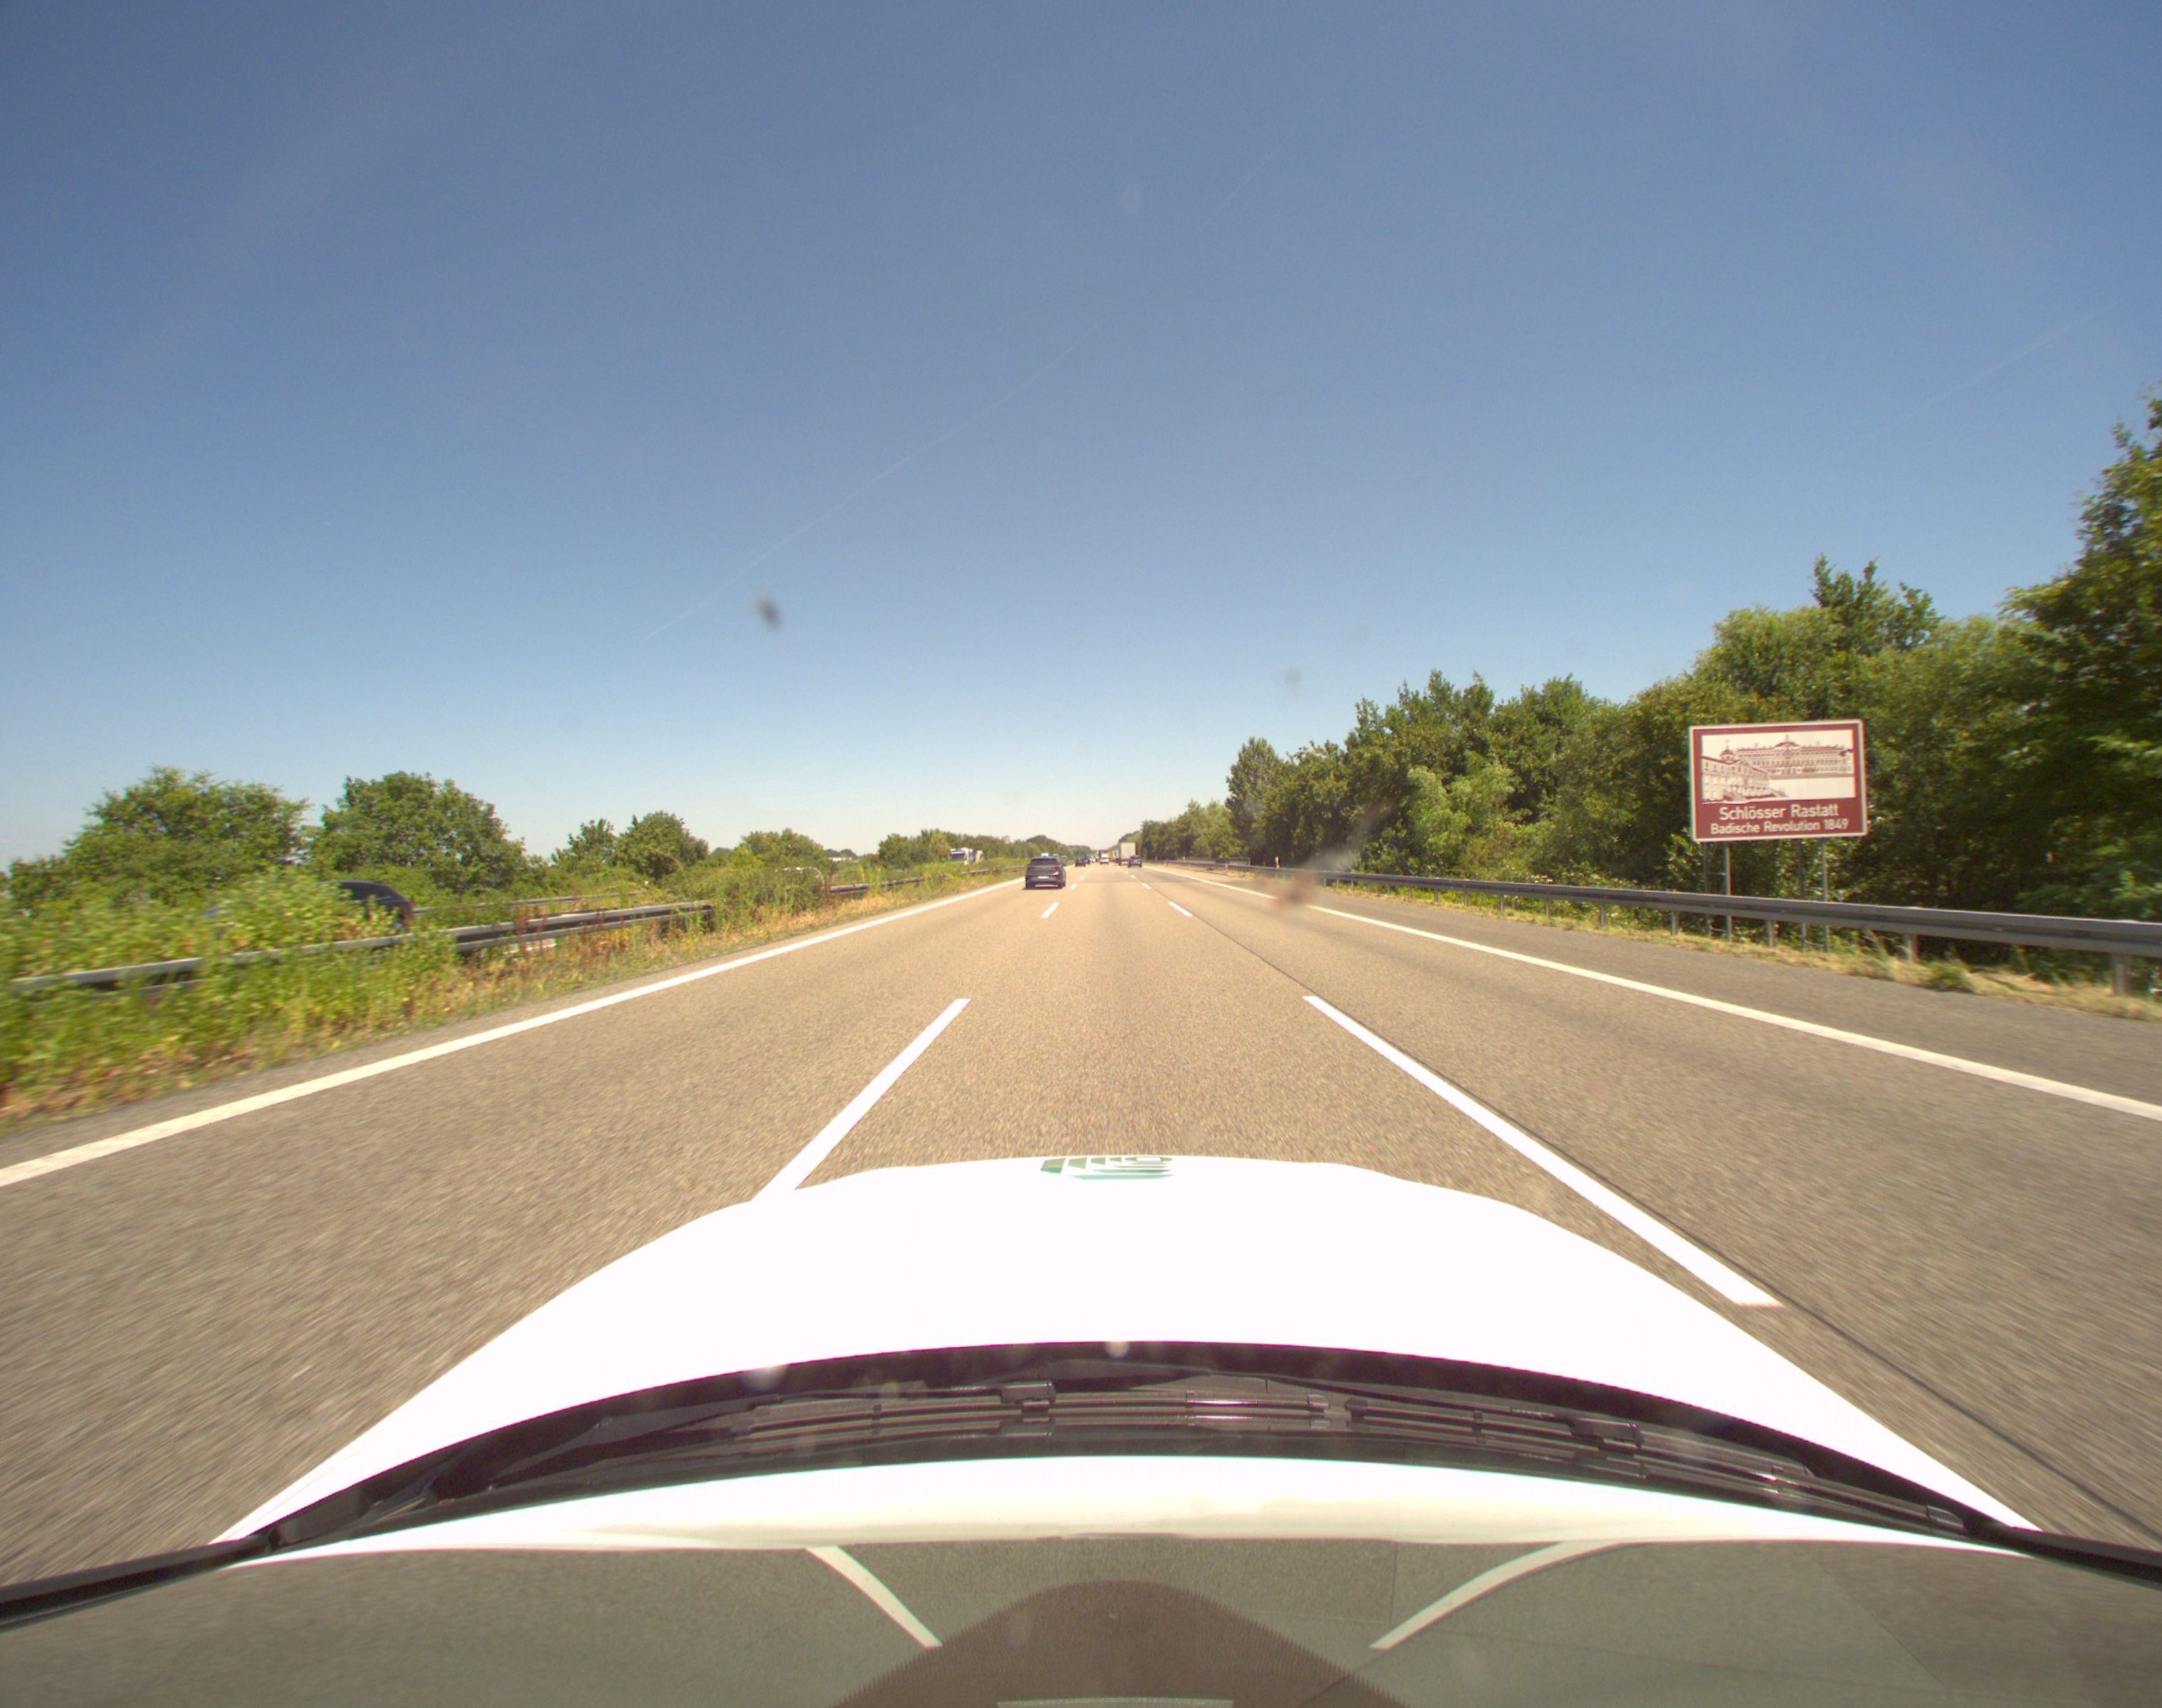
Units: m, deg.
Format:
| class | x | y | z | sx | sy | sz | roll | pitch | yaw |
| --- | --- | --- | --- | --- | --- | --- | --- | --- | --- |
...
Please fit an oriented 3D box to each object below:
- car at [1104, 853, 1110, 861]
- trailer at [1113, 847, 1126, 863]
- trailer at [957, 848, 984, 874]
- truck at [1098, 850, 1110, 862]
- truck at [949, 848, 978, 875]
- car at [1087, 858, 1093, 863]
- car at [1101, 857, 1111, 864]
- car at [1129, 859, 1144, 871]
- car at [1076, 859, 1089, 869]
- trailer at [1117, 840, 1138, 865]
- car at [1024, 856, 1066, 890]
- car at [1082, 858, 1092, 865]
| class | x | y | z | sx | sy | sz | roll | pitch | yaw |
| --- | --- | --- | --- | --- | --- | --- | --- | --- | --- |
| car | 7.363 | 0.807 | 230.855 | 1.900 | 2.425 | 4.287 | 0 | 0 | 1 |
| trailer | 9.731 | 0.340 | 206.649 | 3.112 | 3.926 | 9.936 | 0 | 0 | 1 |
| trailer | -17.675 | 1.079 | 130.939 | 2.916 | 3.990 | 9.658 | 0 | 0 | 0 |
| truck | 7.111 | 0.553 | 255.136 | 3.653 | 3.726 | 7.113 | 0 | 0 | 3 |
| truck | -17.720 | 1.075 | 123.400 | 2.908 | 3.990 | 9.621 | 0 | 0 | 0 |
| car | 2.688 | 1.908 | 239.988 | 1.900 | 1.531 | 4.287 | 0 | 0 | 1 |
| car | 5.119 | 1.338 | 166.826 | 1.893 | 1.531 | 4.085 | 0 | 0 | 1 |
| car | 7.625 | 1.479 | 111.427 | 1.838 | 1.629 | 4.136 | -2 | 0 | 2 |
| car | 0.277 | 1.576 | 127.425 | 1.893 | 1.531 | 4.085 | 0 | 0 | 1 |
| trailer | 8.261 | -0.229 | 145.367 | 3.422 | 4.181 | 13.637 | 0 | -1 | 2 |
| car | -1.690 | 0.870 | 39.679 | 1.753 | 1.531 | 4.287 | 0 | 0 | 2 |
| car | 1.240 | 1.593 | 172.337 | 1.900 | 1.531 | 4.287 | 0 | 0 | 1 |
